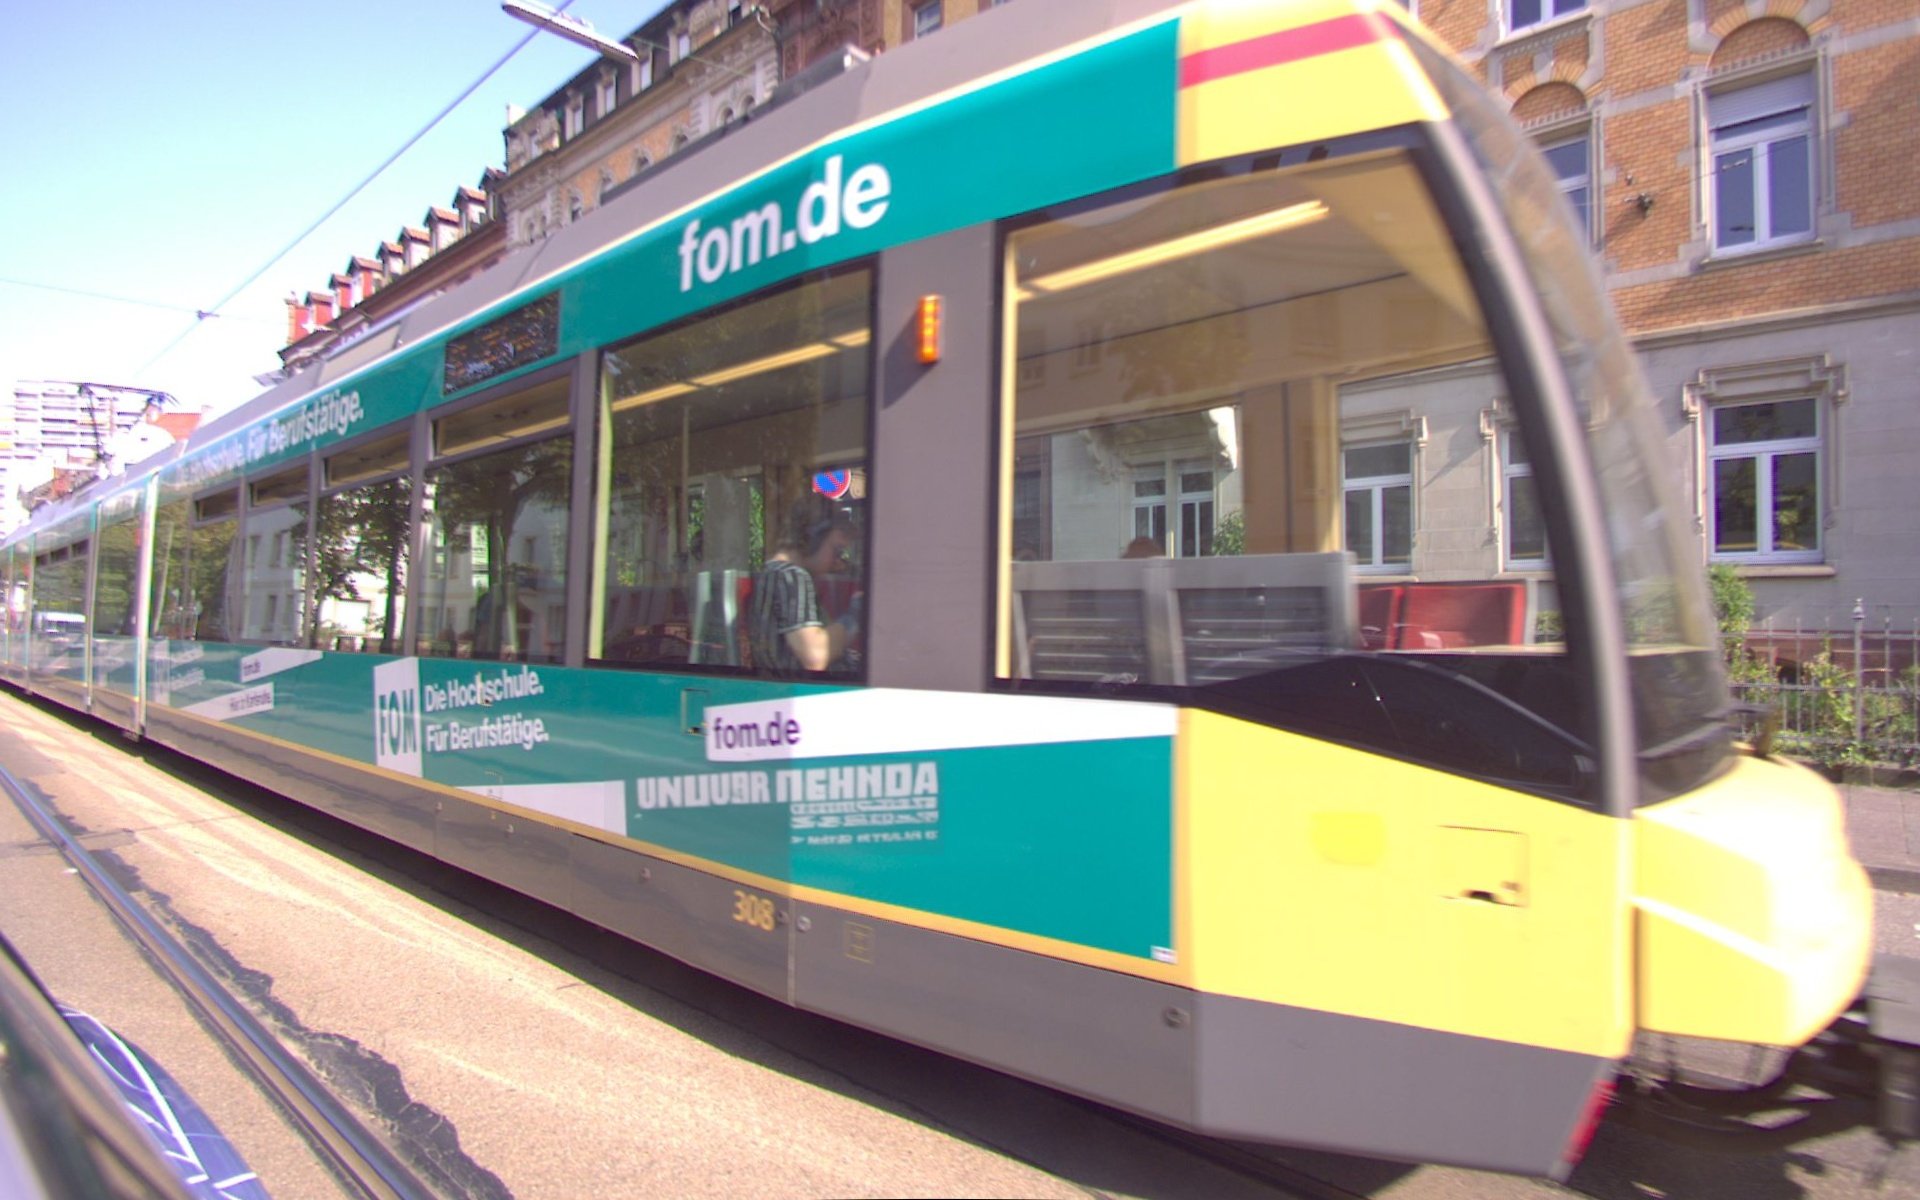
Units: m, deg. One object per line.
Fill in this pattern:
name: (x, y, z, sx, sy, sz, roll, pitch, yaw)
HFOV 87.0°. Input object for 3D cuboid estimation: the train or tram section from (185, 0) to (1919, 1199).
train or tram section: (-1.405, -0.307, 5.635, 10.773, 3.532, 2.705, -1, 0, 42)

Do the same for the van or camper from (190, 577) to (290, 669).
van or camper: (-23.113, 0.679, 32.371, 2.025, 2.664, 6.099, 1, -1, -41)

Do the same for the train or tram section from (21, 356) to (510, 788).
train or tram section: (-9.488, -0.185, 12.906, 10.773, 3.532, 2.705, -1, 0, 42)

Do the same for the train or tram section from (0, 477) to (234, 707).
train or tram section: (-19.227, -0.050, 21.719, 15.429, 3.532, 2.705, -1, 0, 42)
